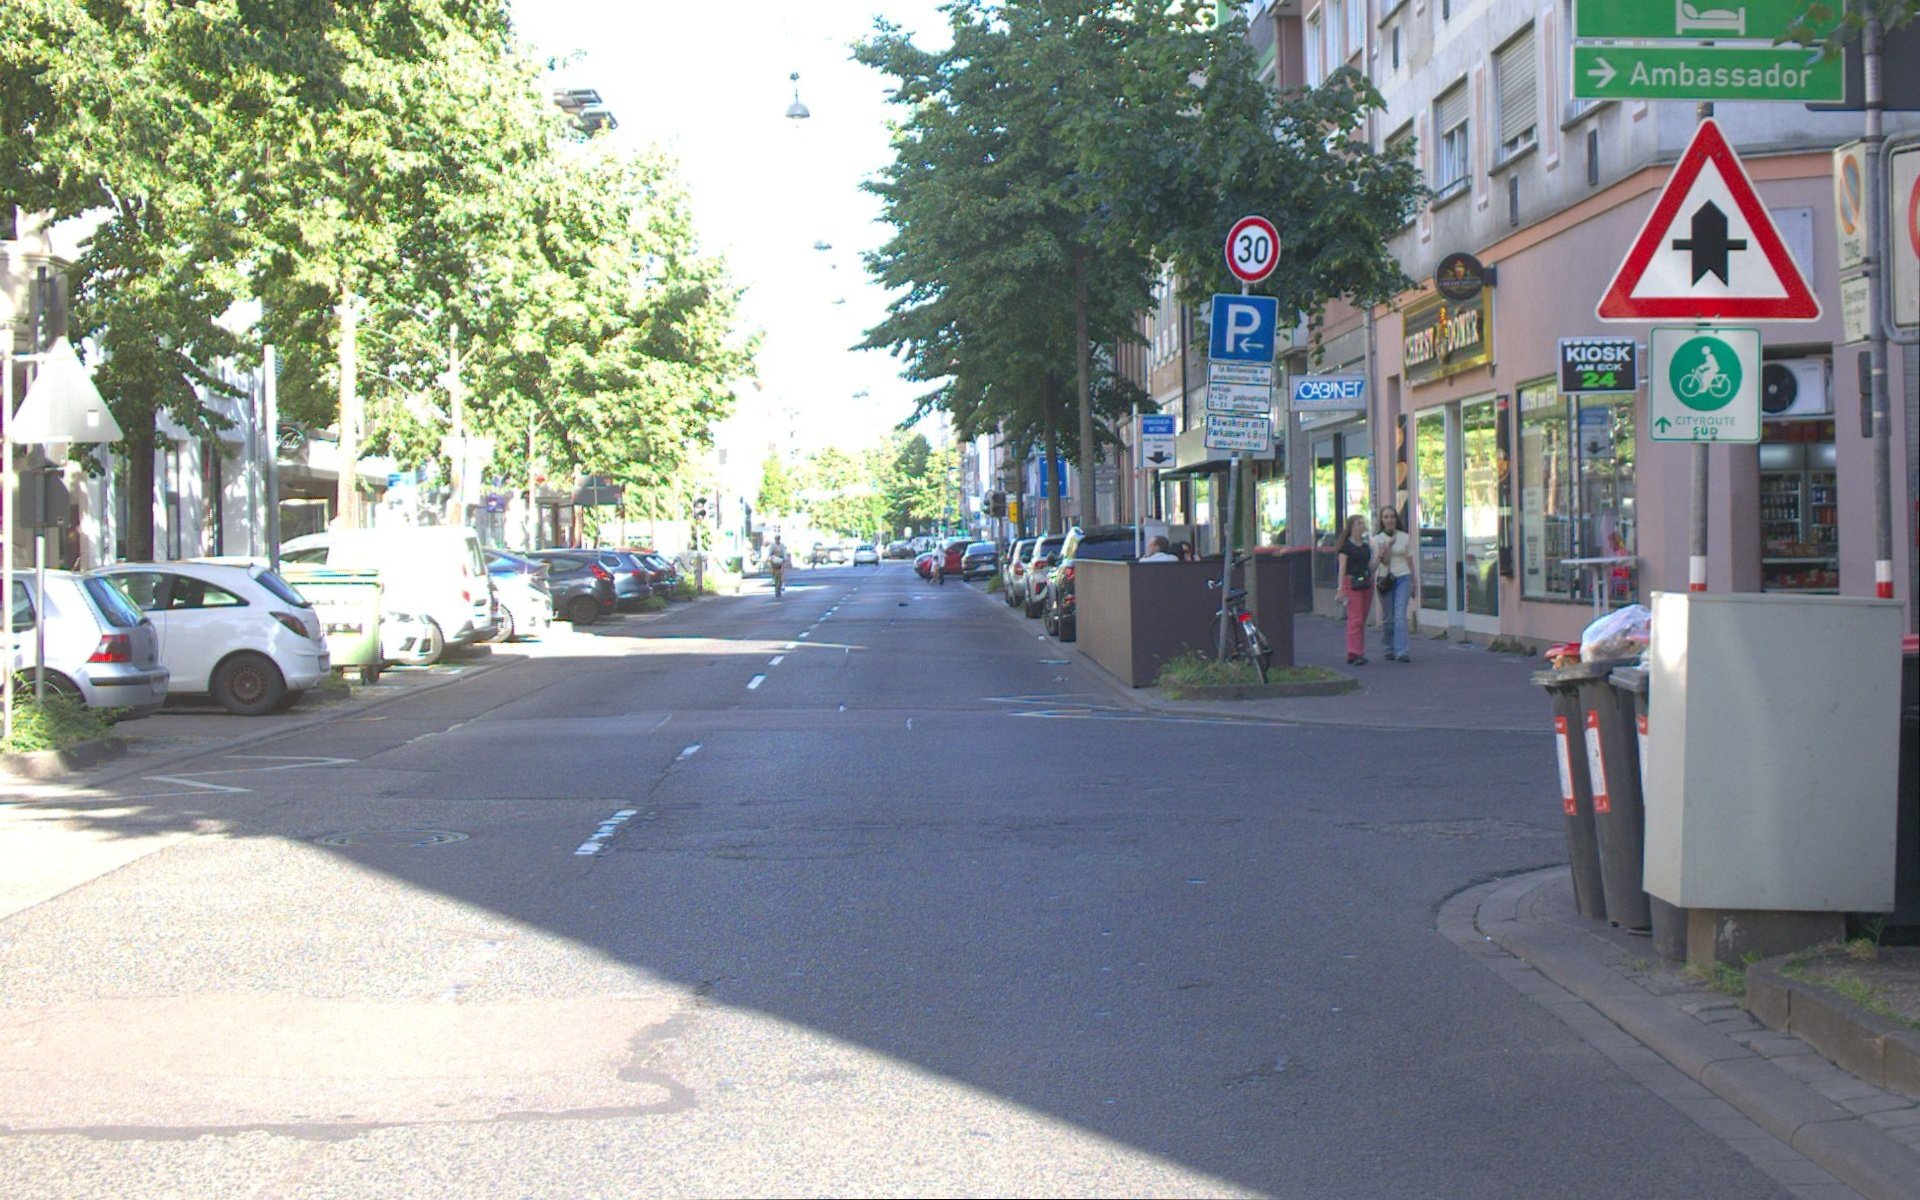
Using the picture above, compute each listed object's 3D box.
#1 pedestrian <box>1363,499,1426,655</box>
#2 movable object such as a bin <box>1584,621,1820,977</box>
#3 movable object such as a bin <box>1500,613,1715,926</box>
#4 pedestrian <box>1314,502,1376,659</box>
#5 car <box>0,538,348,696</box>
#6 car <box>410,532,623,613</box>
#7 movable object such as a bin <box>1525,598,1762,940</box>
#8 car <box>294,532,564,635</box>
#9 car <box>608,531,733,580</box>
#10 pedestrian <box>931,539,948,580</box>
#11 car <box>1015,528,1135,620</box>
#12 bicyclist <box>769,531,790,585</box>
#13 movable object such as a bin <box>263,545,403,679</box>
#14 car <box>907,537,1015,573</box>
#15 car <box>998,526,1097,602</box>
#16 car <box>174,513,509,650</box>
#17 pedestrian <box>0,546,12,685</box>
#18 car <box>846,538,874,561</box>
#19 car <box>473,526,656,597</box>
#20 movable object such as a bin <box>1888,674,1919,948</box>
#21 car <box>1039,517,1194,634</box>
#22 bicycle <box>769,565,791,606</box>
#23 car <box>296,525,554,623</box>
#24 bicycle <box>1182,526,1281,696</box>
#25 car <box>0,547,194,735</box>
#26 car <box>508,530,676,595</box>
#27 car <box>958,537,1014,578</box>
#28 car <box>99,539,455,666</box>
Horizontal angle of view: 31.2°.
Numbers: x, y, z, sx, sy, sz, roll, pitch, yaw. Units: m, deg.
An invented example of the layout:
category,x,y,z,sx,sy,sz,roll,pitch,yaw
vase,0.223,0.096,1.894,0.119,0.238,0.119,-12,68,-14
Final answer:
category,x,y,z,sx,sy,sz,roll,pitch,yaw
pedestrian,4.655,-0.256,36.886,0.547,1.644,0.664,-1,1,-1
movable object such as a bin,2.597,0.681,12.086,0.621,1.175,0.712,-1,1,-3
movable object such as a bin,2.564,0.657,13.666,0.659,1.175,0.739,-1,1,-3
pedestrian,4.094,-0.215,36.585,0.547,1.644,0.664,-1,1,-1
car,-8.024,0.152,32.906,3.986,1.385,2.000,-1,1,-2
car,-8.814,-0.563,68.578,3.986,1.494,2.000,-1,1,-2
movable object such as a bin,2.558,0.619,12.923,0.705,1.218,0.681,-1,1,-3
car,-8.400,-0.282,54.631,3.986,1.494,2.000,-1,1,-2
car,-9.531,-1.463,113.536,3.986,1.494,2.000,-1,1,-2
pedestrian,-0.752,-1.468,124.621,0.545,1.467,0.546,-2,1,-3
car,2.113,-0.513,64.165,1.993,1.604,4.000,-1,1,-1
bicyclist,-5.193,-1.211,99.101,0.560,1.542,0.728,-1,0,-1
movable object such as a bin,-7.203,0.118,39.592,1.334,1.473,1.480,-1,1,-1
car,0.043,-1.829,140.458,3.987,1.437,2.000,-1,0,-35
car,1.921,-0.825,76.800,1.993,1.604,4.000,-1,1,-1
car,-8.205,-0.267,45.813,3.987,1.688,2.000,-1,1,4
pedestrian,-11.639,0.192,40.795,0.547,1.644,0.664,-1,1,1
car,-6.665,-3.386,229.446,1.792,1.406,4.000,-1,1,-1
car,-9.099,-0.899,79.343,3.986,1.494,2.000,-1,1,-2
movable object such as a bin,3.445,0.699,11.335,0.562,0.892,0.628,-1,1,-3
car,2.266,-0.399,50.789,1.993,1.604,4.000,-1,1,-1
bicycle,-5.194,-0.417,99.089,0.560,1.176,1.628,-1,0,-1
car,-8.848,-0.425,57.134,3.986,1.495,2.000,-1,0,-2
bicycle,2.447,0.080,31.127,0.560,1.436,1.628,-7,1,-1
car,-8.255,0.331,27.118,3.986,1.385,2.000,-1,1,-2
car,-9.136,-0.946,85.589,3.986,1.494,2.000,-1,1,-2
car,0.976,-1.623,132.155,1.993,1.503,4.000,-1,0,-1
car,-8.507,0.020,43.016,3.987,1.452,1.868,-1,1,4
